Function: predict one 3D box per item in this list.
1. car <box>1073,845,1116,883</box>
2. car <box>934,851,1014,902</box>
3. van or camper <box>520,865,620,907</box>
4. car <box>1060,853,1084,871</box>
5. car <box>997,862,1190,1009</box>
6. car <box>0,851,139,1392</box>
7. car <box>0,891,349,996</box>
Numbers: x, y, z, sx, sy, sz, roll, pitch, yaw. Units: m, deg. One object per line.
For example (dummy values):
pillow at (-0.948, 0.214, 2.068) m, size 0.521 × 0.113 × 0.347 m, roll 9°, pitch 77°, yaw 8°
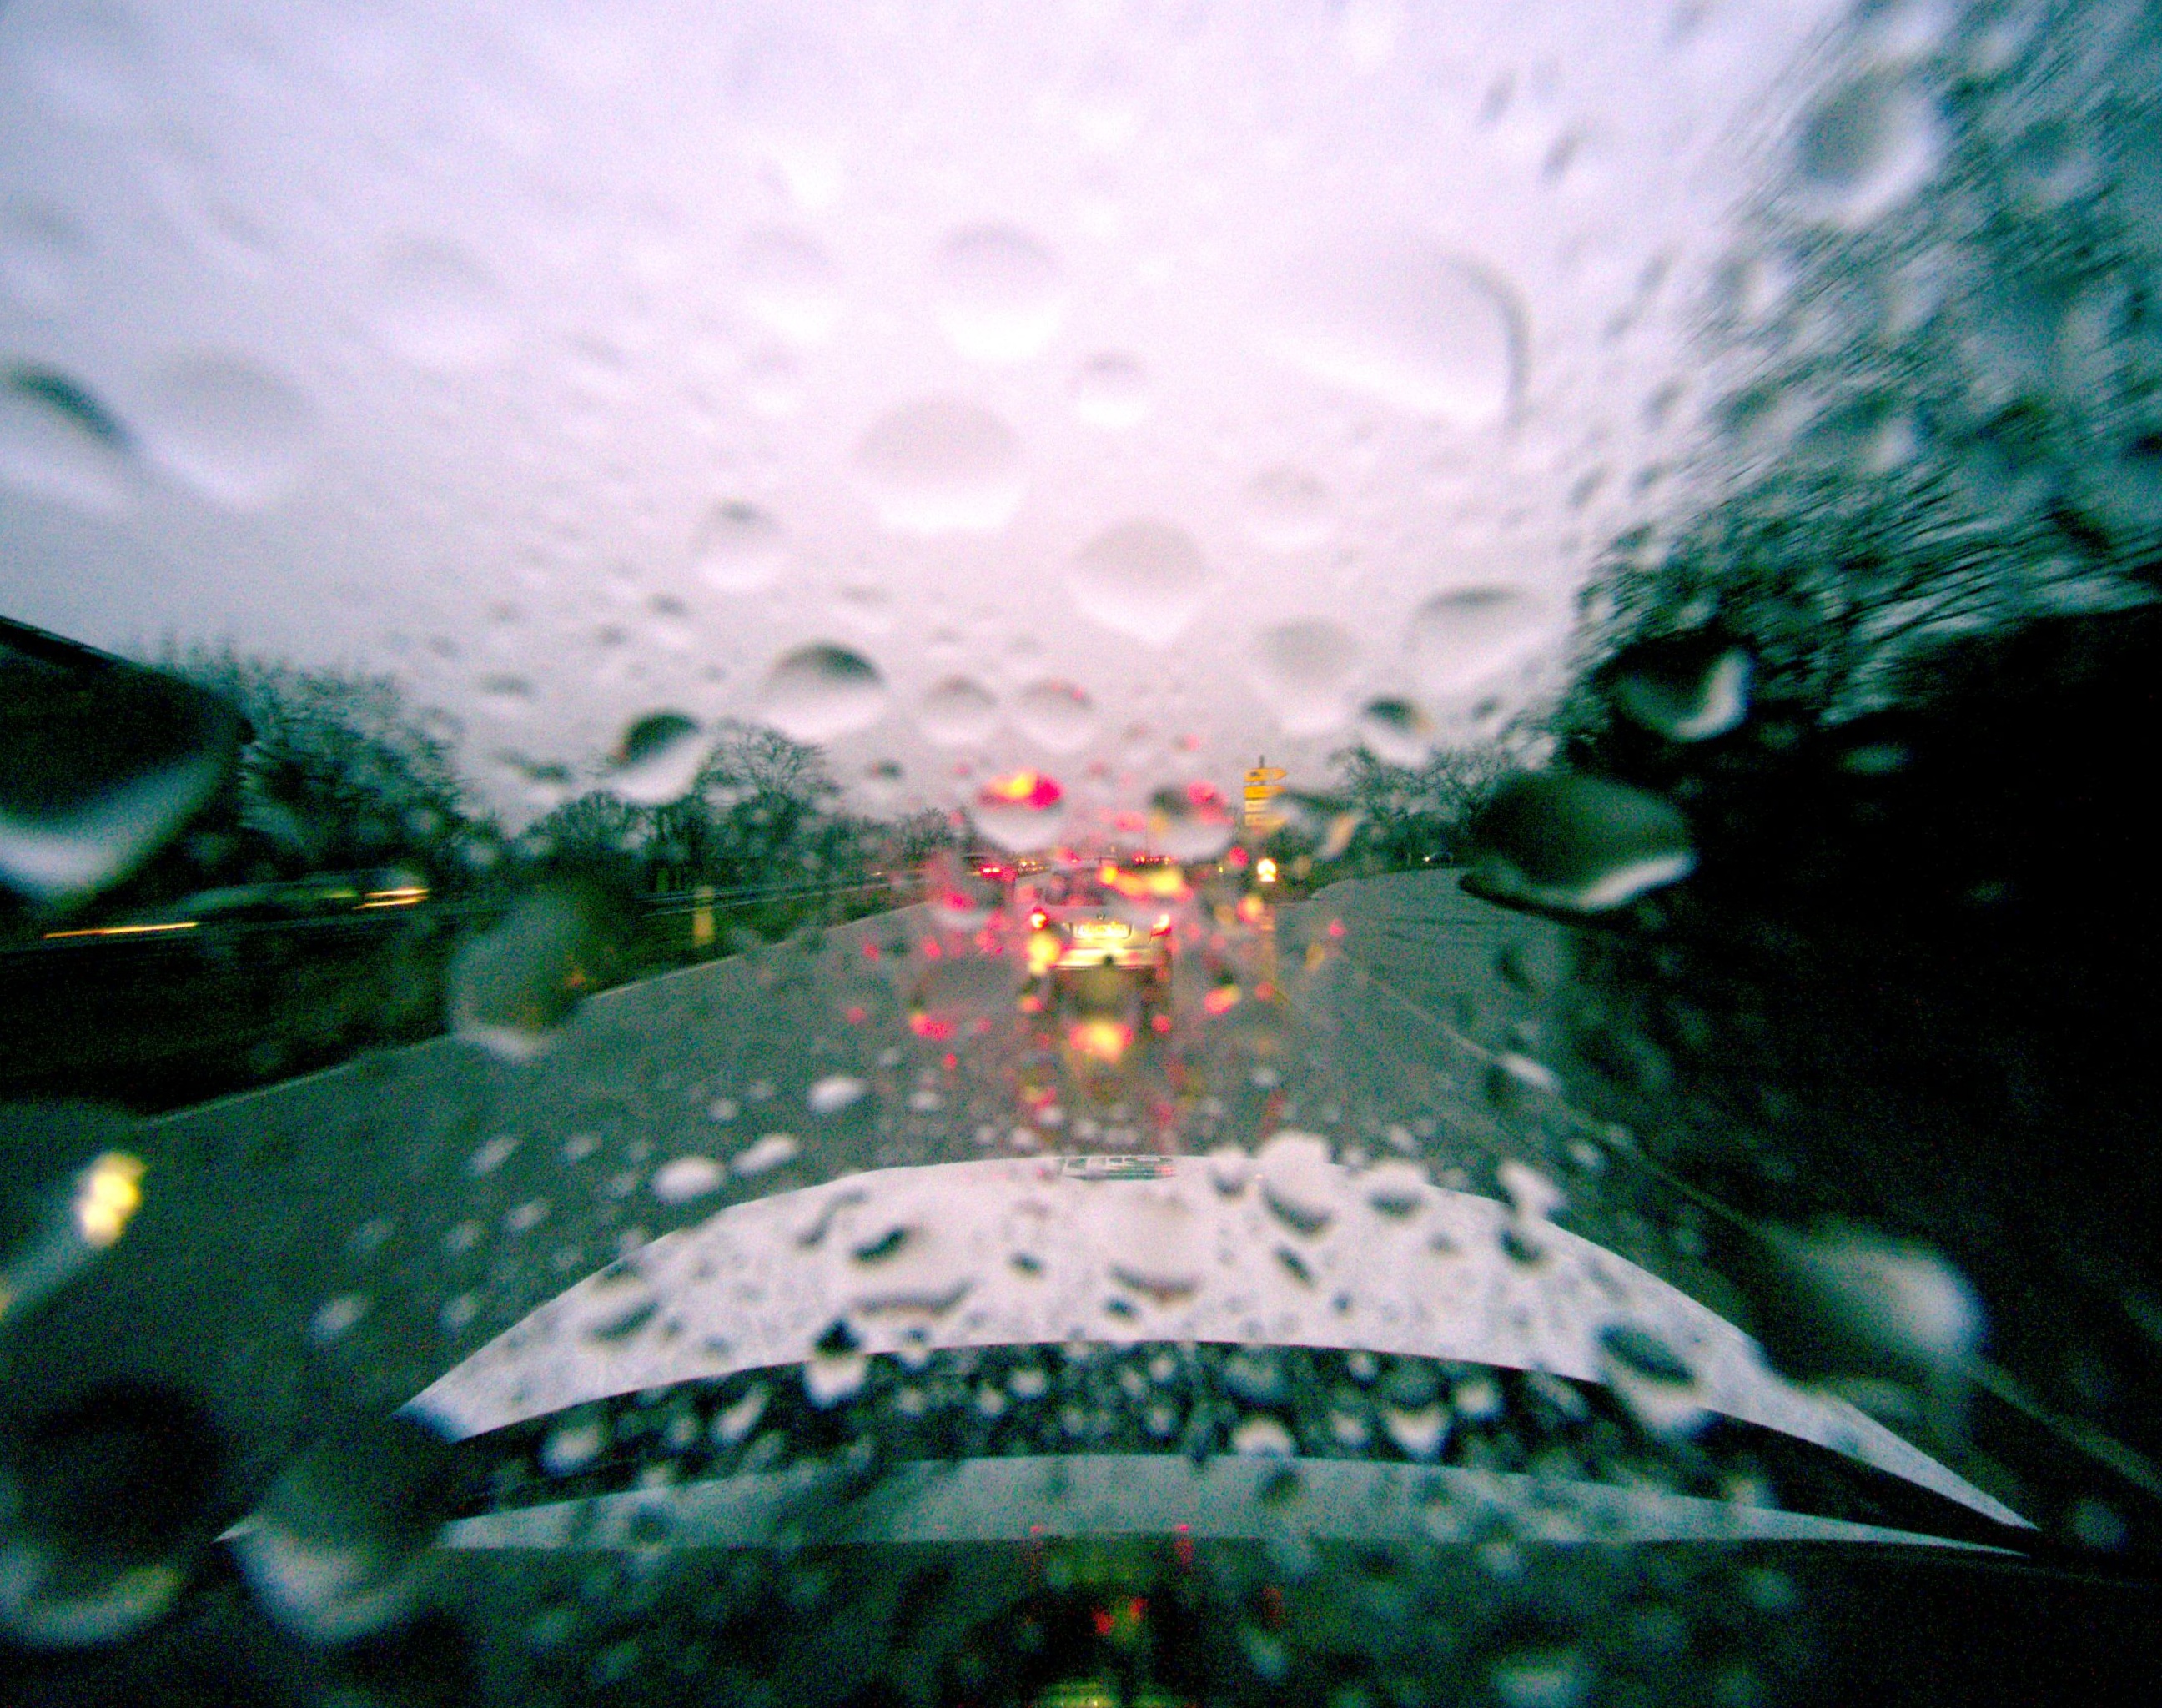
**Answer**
car at (0.761, 0.471, 41.842) m, size 1.889 × 1.767 × 4.313 m, roll -2°, pitch 0°, yaw 4°
car at (-3.550, 0.724, 27.901) m, size 1.985 × 1.601 × 4.311 m, roll 0°, pitch 0°, yaw 2°
van or camper at (-23.225, 1.408, 37.223) m, size 1.641 × 1.784 × 4.213 m, roll -2°, pitch -1°, yaw 4°
car at (-0.805, 0.719, 75.148) m, size 1.781 × 1.545 × 4.004 m, roll -2°, pitch 0°, yaw 4°
car at (0.279, 0.882, 10.633) m, size 1.984 × 1.500 × 4.142 m, roll -2°, pitch -1°, yaw 4°
car at (-3.896, 0.754, 0.411) m, size 1.716 × 1.440 × 4.231 m, roll -2°, pitch 0°, yaw 4°
car at (-16.952, 1.570, 15.506) m, size 1.775 × 1.533 × 4.384 m, roll -2°, pitch -1°, yaw 5°
